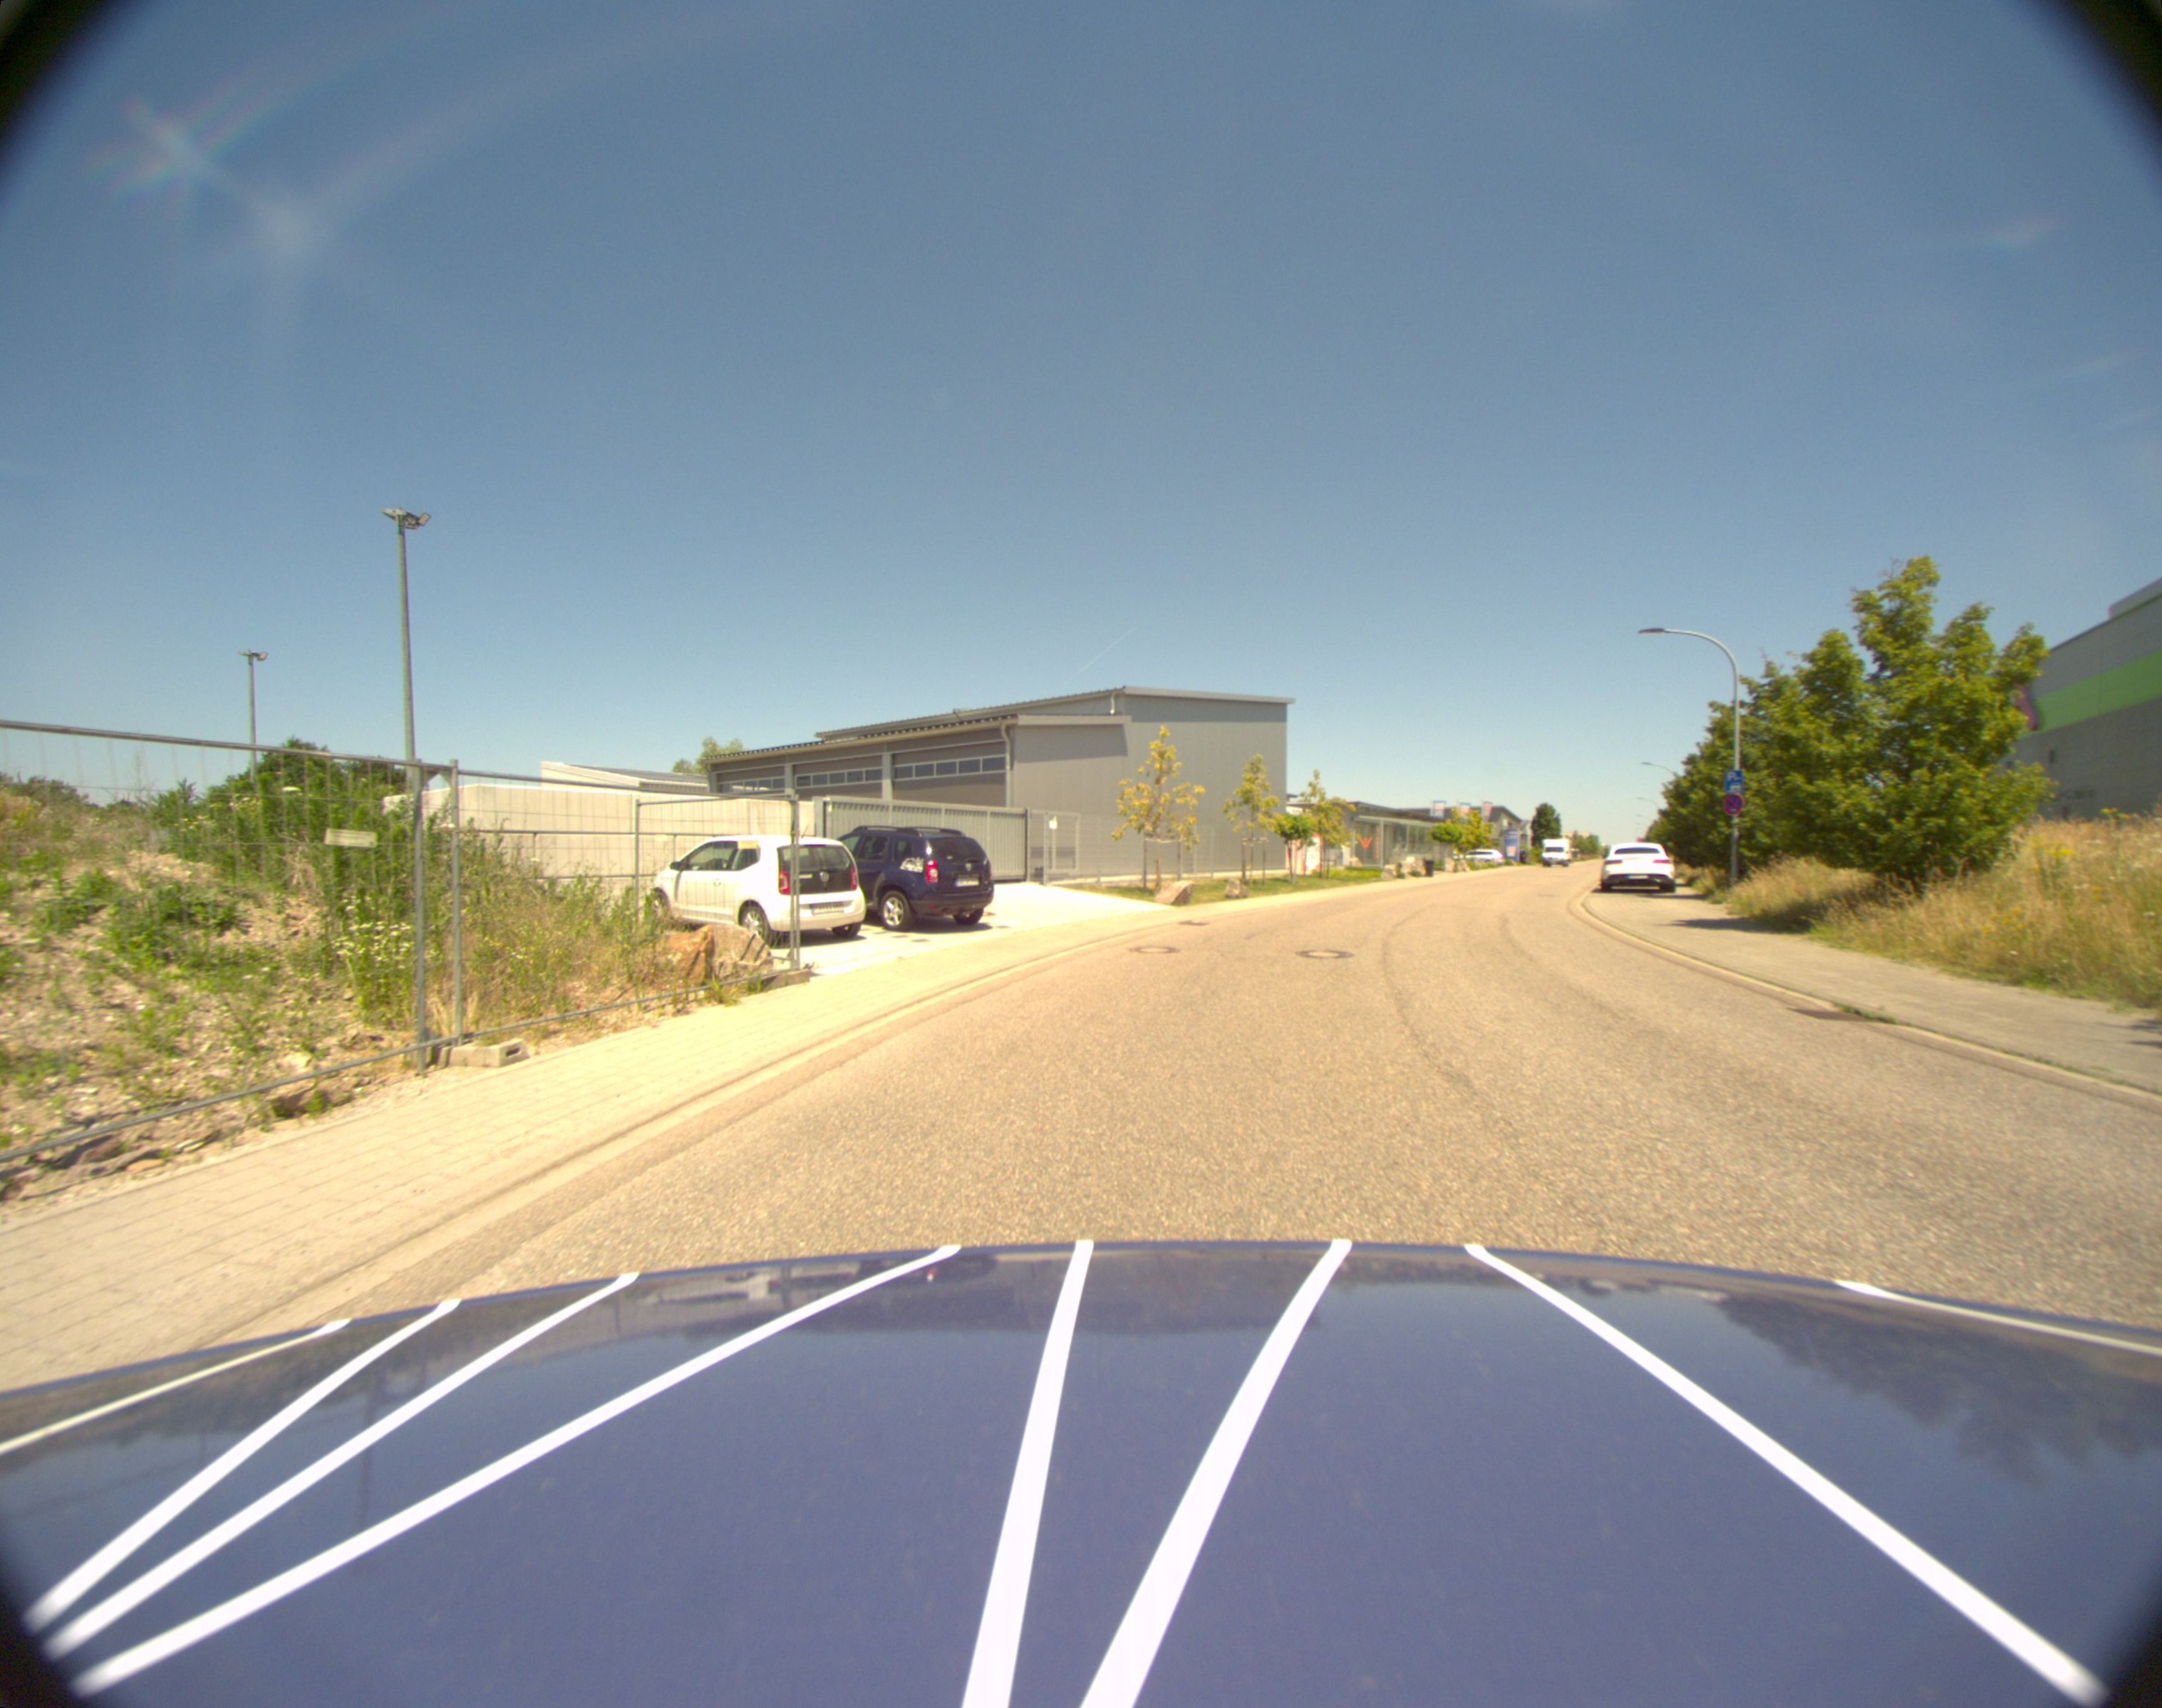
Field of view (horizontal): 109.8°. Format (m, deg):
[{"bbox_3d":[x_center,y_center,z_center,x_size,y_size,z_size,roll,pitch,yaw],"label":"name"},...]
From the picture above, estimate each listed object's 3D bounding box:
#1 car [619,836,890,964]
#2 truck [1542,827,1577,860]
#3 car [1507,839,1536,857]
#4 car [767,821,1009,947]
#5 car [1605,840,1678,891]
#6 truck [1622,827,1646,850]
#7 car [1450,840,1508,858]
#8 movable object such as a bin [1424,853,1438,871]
[{"bbox_3d":[-4.958,0.542,11.367,4.010,1.454,1.896,3,3,35],"label":"car"},{"bbox_3d":[49.367,-1.153,78.326,2.458,3.187,6.895,-1,2,38],"label":"truck"},{"bbox_3d":[49.399,-0.697,85.222,1.994,2.002,5.347,0,1,39],"label":"car"},{"bbox_3d":[-3.433,0.396,13.193,4.009,1.646,1.862,6,4,35],"label":"car"},{"bbox_3d":[19.740,0.336,26.847,1.913,1.646,4.764,0,1,36],"label":"car"},{"bbox_3d":[54.155,-1.489,74.425,1.852,2.209,4.655,-1,0,35],"label":"truck"},{"bbox_3d":[34.946,-0.447,66.698,4.280,1.532,1.917,2,2,33],"label":"car"},{"bbox_3d":[18.621,0.431,40.389,0.558,0.941,0.540,2,2,35],"label":"movable object such as a bin"}]
